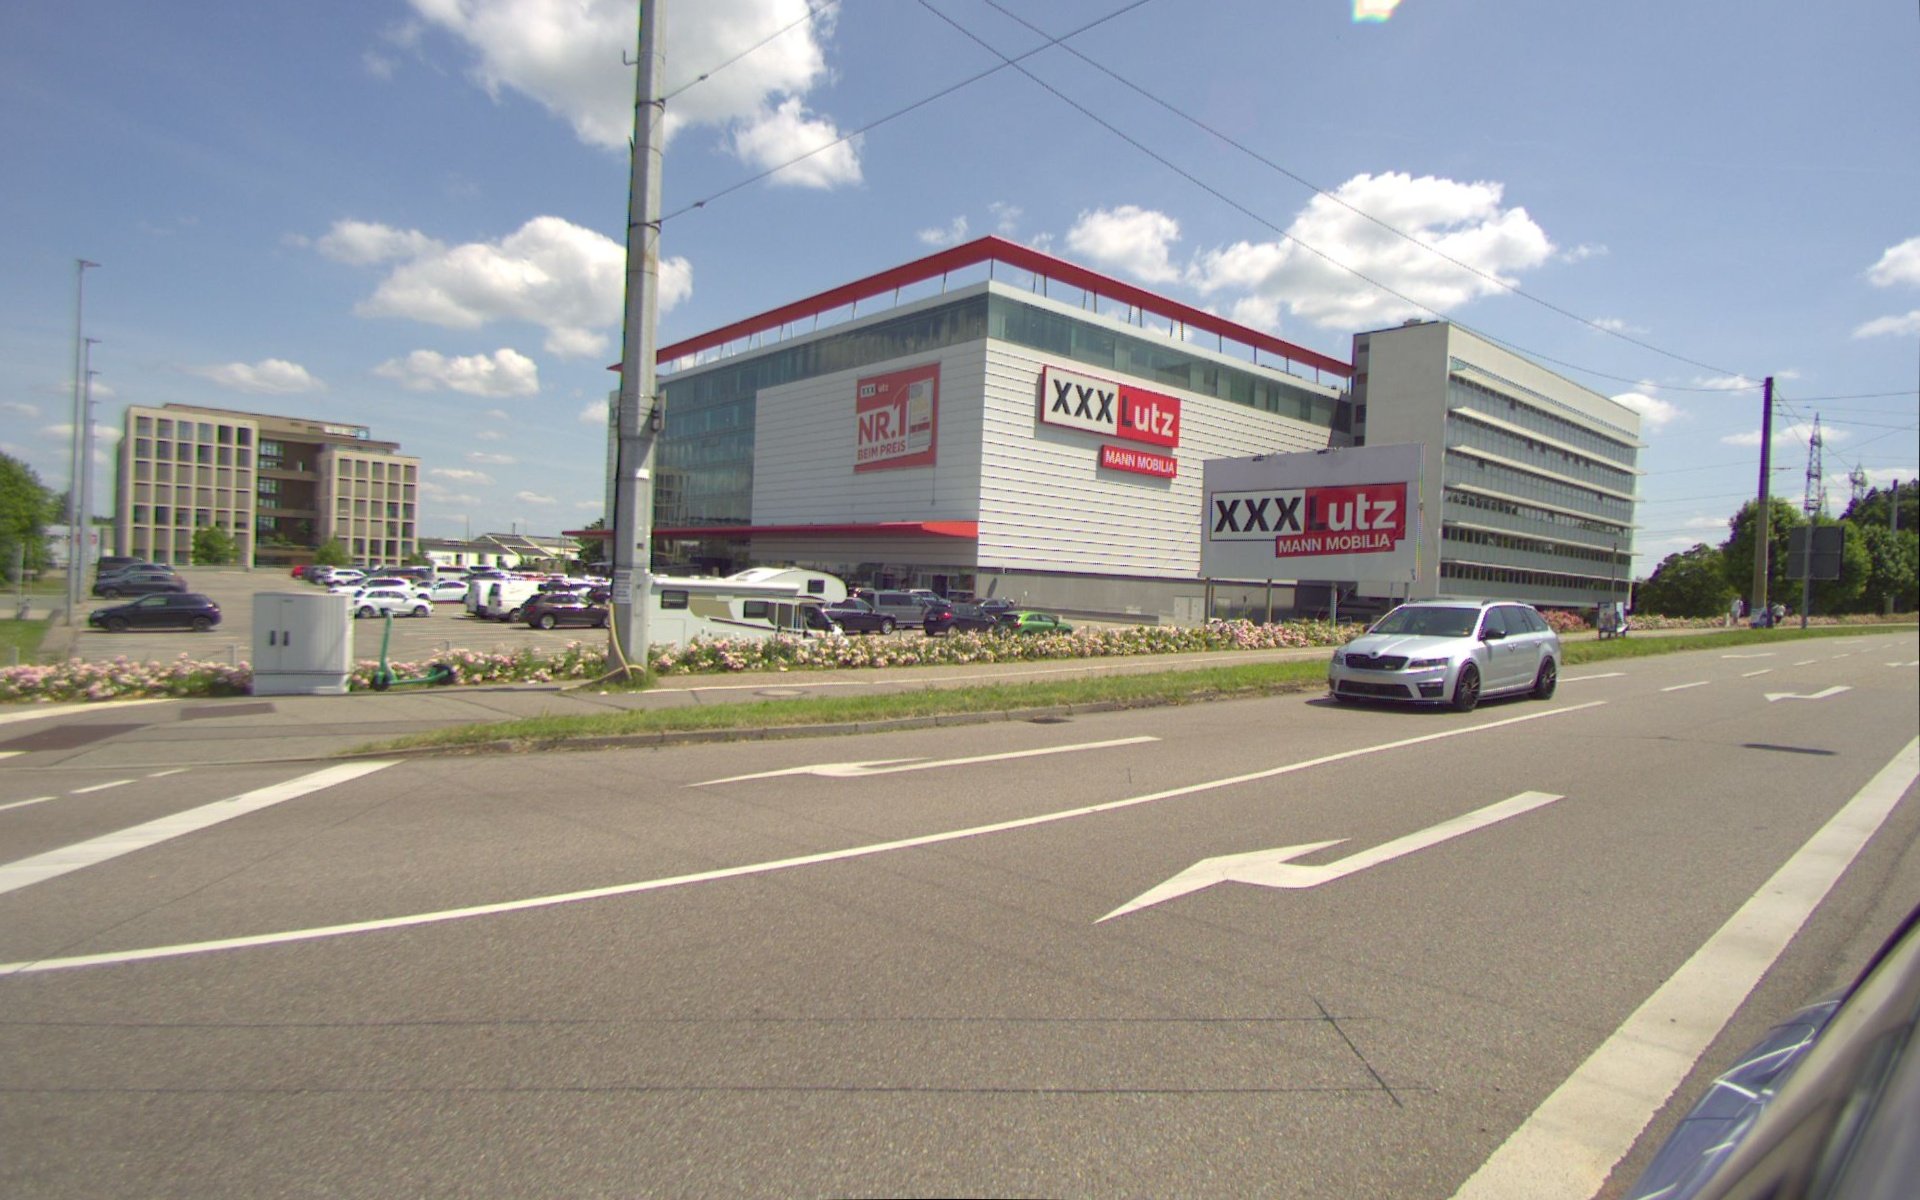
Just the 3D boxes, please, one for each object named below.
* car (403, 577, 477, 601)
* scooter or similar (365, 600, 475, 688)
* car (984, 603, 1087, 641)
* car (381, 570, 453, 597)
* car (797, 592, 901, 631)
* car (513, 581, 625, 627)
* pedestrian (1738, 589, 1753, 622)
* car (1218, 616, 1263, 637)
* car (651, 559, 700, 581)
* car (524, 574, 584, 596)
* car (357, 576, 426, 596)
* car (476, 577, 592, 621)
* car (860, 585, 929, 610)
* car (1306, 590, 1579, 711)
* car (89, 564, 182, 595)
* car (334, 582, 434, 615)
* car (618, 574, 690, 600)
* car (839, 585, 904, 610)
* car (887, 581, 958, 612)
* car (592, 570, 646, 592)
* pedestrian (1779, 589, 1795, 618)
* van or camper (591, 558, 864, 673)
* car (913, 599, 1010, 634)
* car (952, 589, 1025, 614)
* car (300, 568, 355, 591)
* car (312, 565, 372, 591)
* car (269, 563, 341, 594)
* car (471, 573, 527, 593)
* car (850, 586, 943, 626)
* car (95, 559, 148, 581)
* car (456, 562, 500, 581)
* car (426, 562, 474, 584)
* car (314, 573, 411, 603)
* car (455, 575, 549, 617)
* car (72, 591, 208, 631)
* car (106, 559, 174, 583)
[{"bbox_3d":[-33.379,-0.694,64.999,3.926,1.457,1.853,0,1,-38],"label":"car"},{"bbox_3d":[-7.612,0.607,14.305,1.252,1.140,0.481,-3,1,-13],"label":"scooter or similar"},{"bbox_3d":[3.378,0.941,44.875,4.438,1.583,1.998,0,1,-39],"label":"car"},{"bbox_3d":[-37.555,-1.146,70.006,4.095,1.723,1.853,1,1,-39],"label":"car"},{"bbox_3d":[-5.118,0.503,46.898,4.421,1.738,1.998,0,1,-38],"label":"car"},{"bbox_3d":[-17.565,0.179,45.563,4.407,1.936,1.590,1,1,-39],"label":"car"},{"bbox_3d":[43.449,0.278,55.989,0.623,1.816,0.517,1,0,-42],"label":"pedestrian"},{"bbox_3d":[24.442,2.271,88.202,3.931,1.668,1.996,0,1,-42],"label":"car"},{"bbox_3d":[-27.224,-2.850,96.875,4.210,2.039,1.849,0,1,-40],"label":"car"},{"bbox_3d":[-32.091,-1.185,80.037,3.929,1.671,1.998,0,1,-40],"label":"car"},{"bbox_3d":[-41.590,-1.016,74.056,4.178,1.430,1.859,0,1,-39],"label":"car"},{"bbox_3d":[-20.852,-0.060,49.659,4.877,2.039,1.997,0,1,-40],"label":"car"},{"bbox_3d":[-4.520,-0.162,70.336,4.440,1.714,1.997,0,1,-41],"label":"car"},{"bbox_3d":[6.822,0.599,14.102,4.381,1.415,1.801,0,1,-40],"label":"car"},{"bbox_3d":[-47.915,-1.149,58.847,4.055,1.705,1.995,0,1,-44],"label":"car"},{"bbox_3d":[-28.523,-0.093,50.182,1.849,1.565,3.937,1,1,44],"label":"car"},{"bbox_3d":[-21.651,-0.897,71.690,4.440,1.756,1.997,0,1,-41],"label":"car"},{"bbox_3d":[-6.373,-0.199,73.052,4.443,1.714,1.996,0,1,-43],"label":"car"},{"bbox_3d":[-2.480,-0.237,67.854,4.440,1.946,1.997,0,1,-41],"label":"car"},{"bbox_3d":[-26.890,-1.487,79.880,3.665,1.622,1.691,0,1,-42],"label":"car"},{"bbox_3d":[48.645,0.210,59.521,0.623,1.676,0.598,1,0,-42],"label":"pedestrian"},{"bbox_3d":[-6.694,0.375,29.889,7.478,2.983,2.714,0,1,-40],"label":"van or camper"},{"bbox_3d":[0.094,0.755,48.676,4.440,1.574,1.997,0,1,-41],"label":"car"},{"bbox_3d":[1.756,0.086,61.253,4.442,1.418,1.696,0,1,-42],"label":"car"},{"bbox_3d":[-57.306,-1.829,91.685,3.929,2.039,1.997,0,1,-40],"label":"car"},{"bbox_3d":[-50.411,-1.777,82.584,3.930,2.039,1.544,0,0,-41],"label":"car"},{"bbox_3d":[-44.991,-1.433,69.545,3.930,2.039,1.997,0,1,-41],"label":"car"},{"bbox_3d":[-40.018,-1.468,87.874,4.095,1.723,1.853,0,1,-39],"label":"car"},{"bbox_3d":[-3.216,0.292,51.909,4.440,1.918,1.997,0,1,-41],"label":"car"},{"bbox_3d":[-80.965,-2.873,97.736,3.929,2.039,1.997,1,0,-40],"label":"car"},{"bbox_3d":[-52.577,-3.101,110.503,3.931,2.039,1.996,0,1,-42],"label":"car"},{"bbox_3d":[-50.066,-2.614,99.330,3.927,2.039,1.999,0,0,-38],"label":"car"},{"bbox_3d":[-35.398,-0.683,60.040,4.780,1.723,1.853,0,1,-38],"label":"car"},{"bbox_3d":[-23.049,-0.219,51.021,3.929,2.039,1.997,0,1,-40],"label":"car"},{"bbox_3d":[-30.592,0.404,37.837,3.874,1.393,1.852,0,1,-41],"label":"car"},{"bbox_3d":[-61.609,-2.133,76.121,3.926,1.705,1.999,0,1,-38],"label":"car"}]
